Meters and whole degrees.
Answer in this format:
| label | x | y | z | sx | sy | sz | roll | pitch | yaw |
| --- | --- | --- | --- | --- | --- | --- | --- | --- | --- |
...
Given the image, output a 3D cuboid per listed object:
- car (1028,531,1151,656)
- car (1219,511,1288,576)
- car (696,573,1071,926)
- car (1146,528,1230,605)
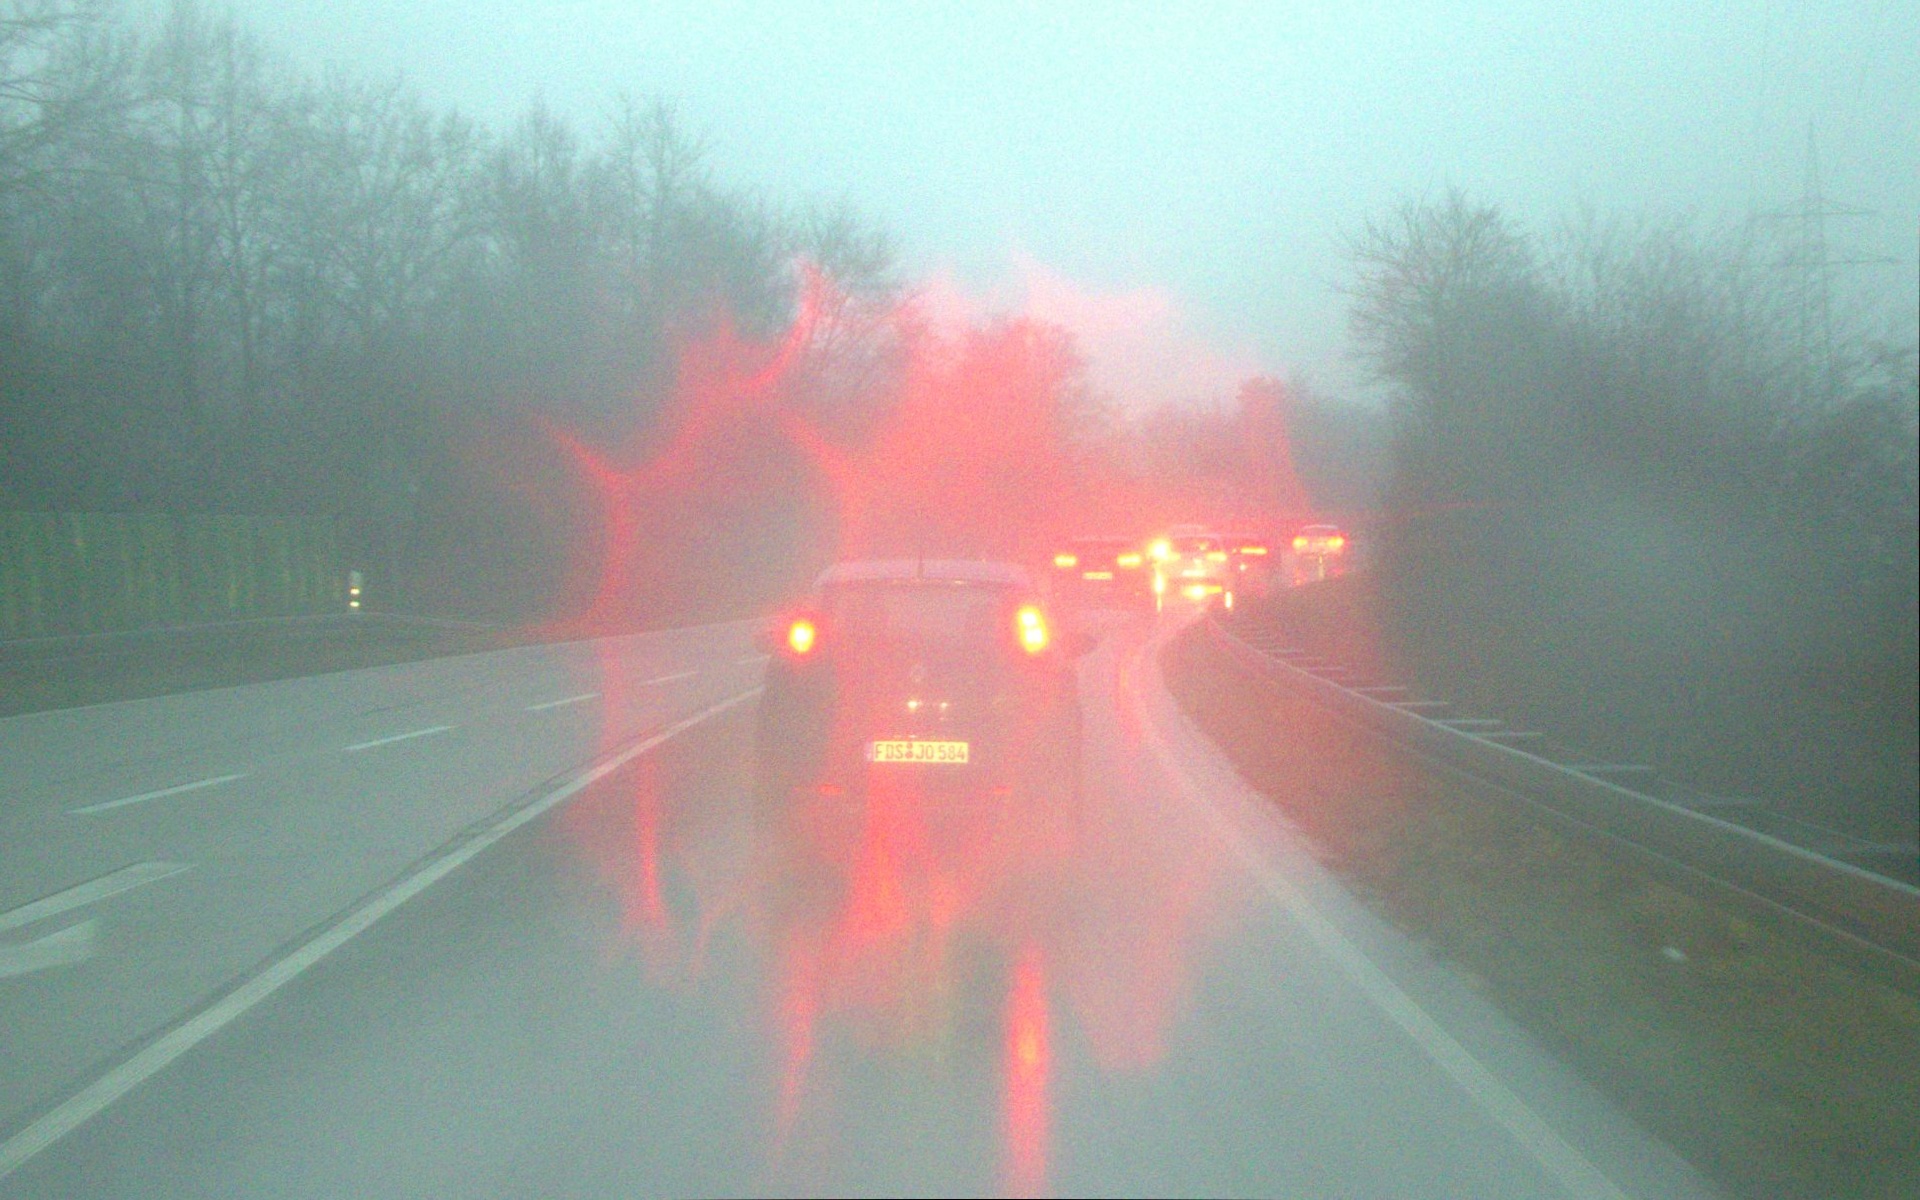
| label | x | y | z | sx | sy | sz | roll | pitch | yaw |
| --- | --- | --- | --- | --- | --- | --- | --- | --- | --- |
| car | 2.330 | -0.098 | 62.206 | 1.946 | 2.007 | 4.000 | -6 | -1 | 2 |
| car | 8.636 | -1.678 | 100.962 | 1.946 | 1.738 | 4.000 | 0 | 3 | 6 |
| car | -0.372 | 0.717 | 18.798 | 1.730 | 1.527 | 4.043 | -4 | 2 | 0 |
| car | 5.707 | -0.859 | 85.605 | 1.946 | 1.738 | 4.000 | 0 | 3 | 6 |
